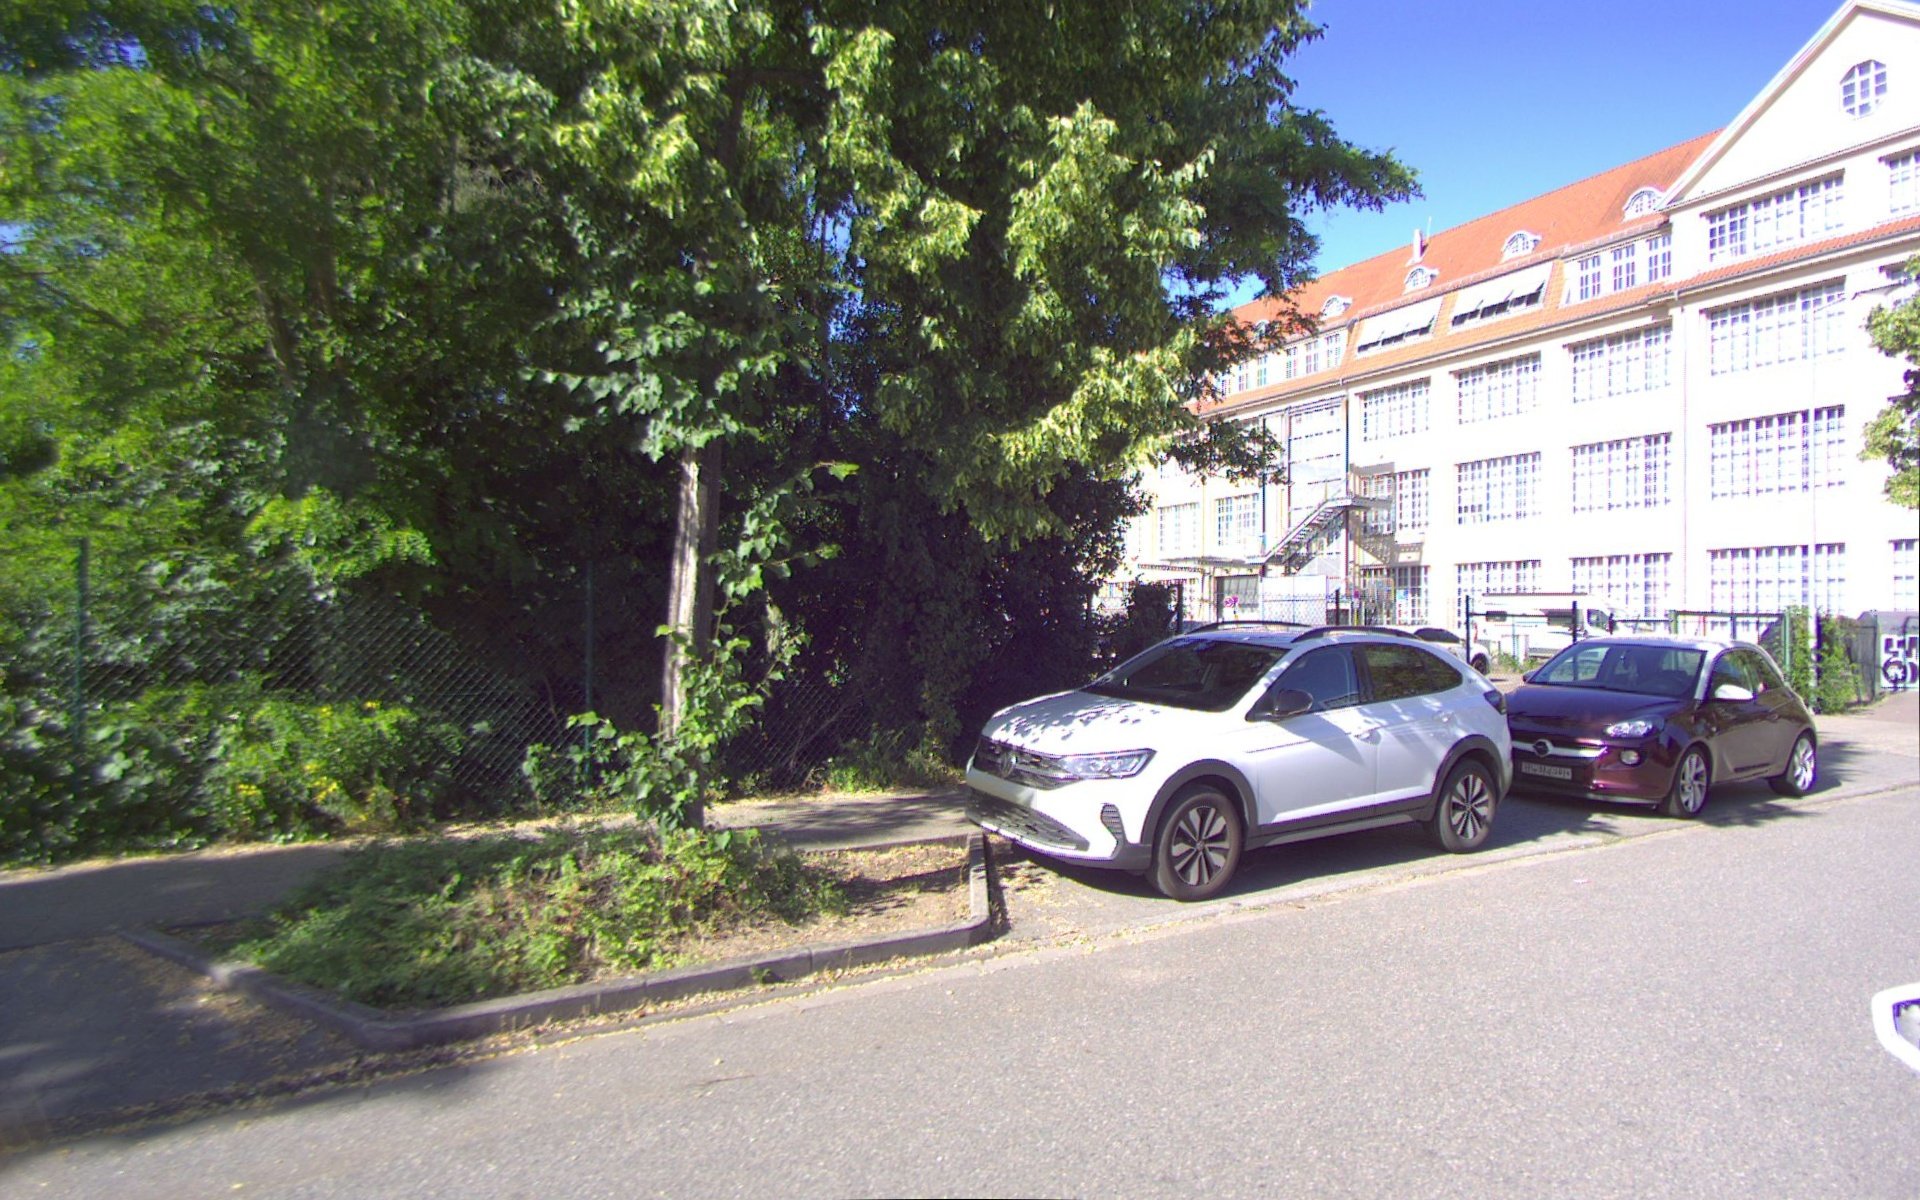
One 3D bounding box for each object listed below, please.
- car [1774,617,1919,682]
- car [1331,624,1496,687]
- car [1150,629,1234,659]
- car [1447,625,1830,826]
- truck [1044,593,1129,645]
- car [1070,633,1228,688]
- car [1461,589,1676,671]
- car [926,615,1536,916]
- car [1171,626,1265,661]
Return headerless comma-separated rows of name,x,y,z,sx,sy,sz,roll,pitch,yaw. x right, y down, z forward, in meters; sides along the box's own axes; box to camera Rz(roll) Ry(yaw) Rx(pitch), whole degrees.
car,25.652,1.345,28.072,1.975,1.718,4.074,2,-2,-28
car,12.696,1.509,28.093,4.370,1.631,1.986,1,-1,-28
car,11.685,2.219,50.884,1.829,1.444,4.193,1,-2,-29
car,6.413,1.029,9.429,3.507,1.493,1.708,2,0,-32
truck,8.969,1.366,72.163,2.469,3.476,7.077,2,-1,-27
car,5.586,1.728,29.567,4.319,1.515,1.959,1,-1,-28
car,21.212,1.050,35.419,2.140,2.631,6.233,1,-2,-30
car,1.940,0.911,6.959,3.955,1.493,1.831,2,0,-31
car,12.153,2.007,47.257,4.194,1.580,1.882,1,-2,-31
